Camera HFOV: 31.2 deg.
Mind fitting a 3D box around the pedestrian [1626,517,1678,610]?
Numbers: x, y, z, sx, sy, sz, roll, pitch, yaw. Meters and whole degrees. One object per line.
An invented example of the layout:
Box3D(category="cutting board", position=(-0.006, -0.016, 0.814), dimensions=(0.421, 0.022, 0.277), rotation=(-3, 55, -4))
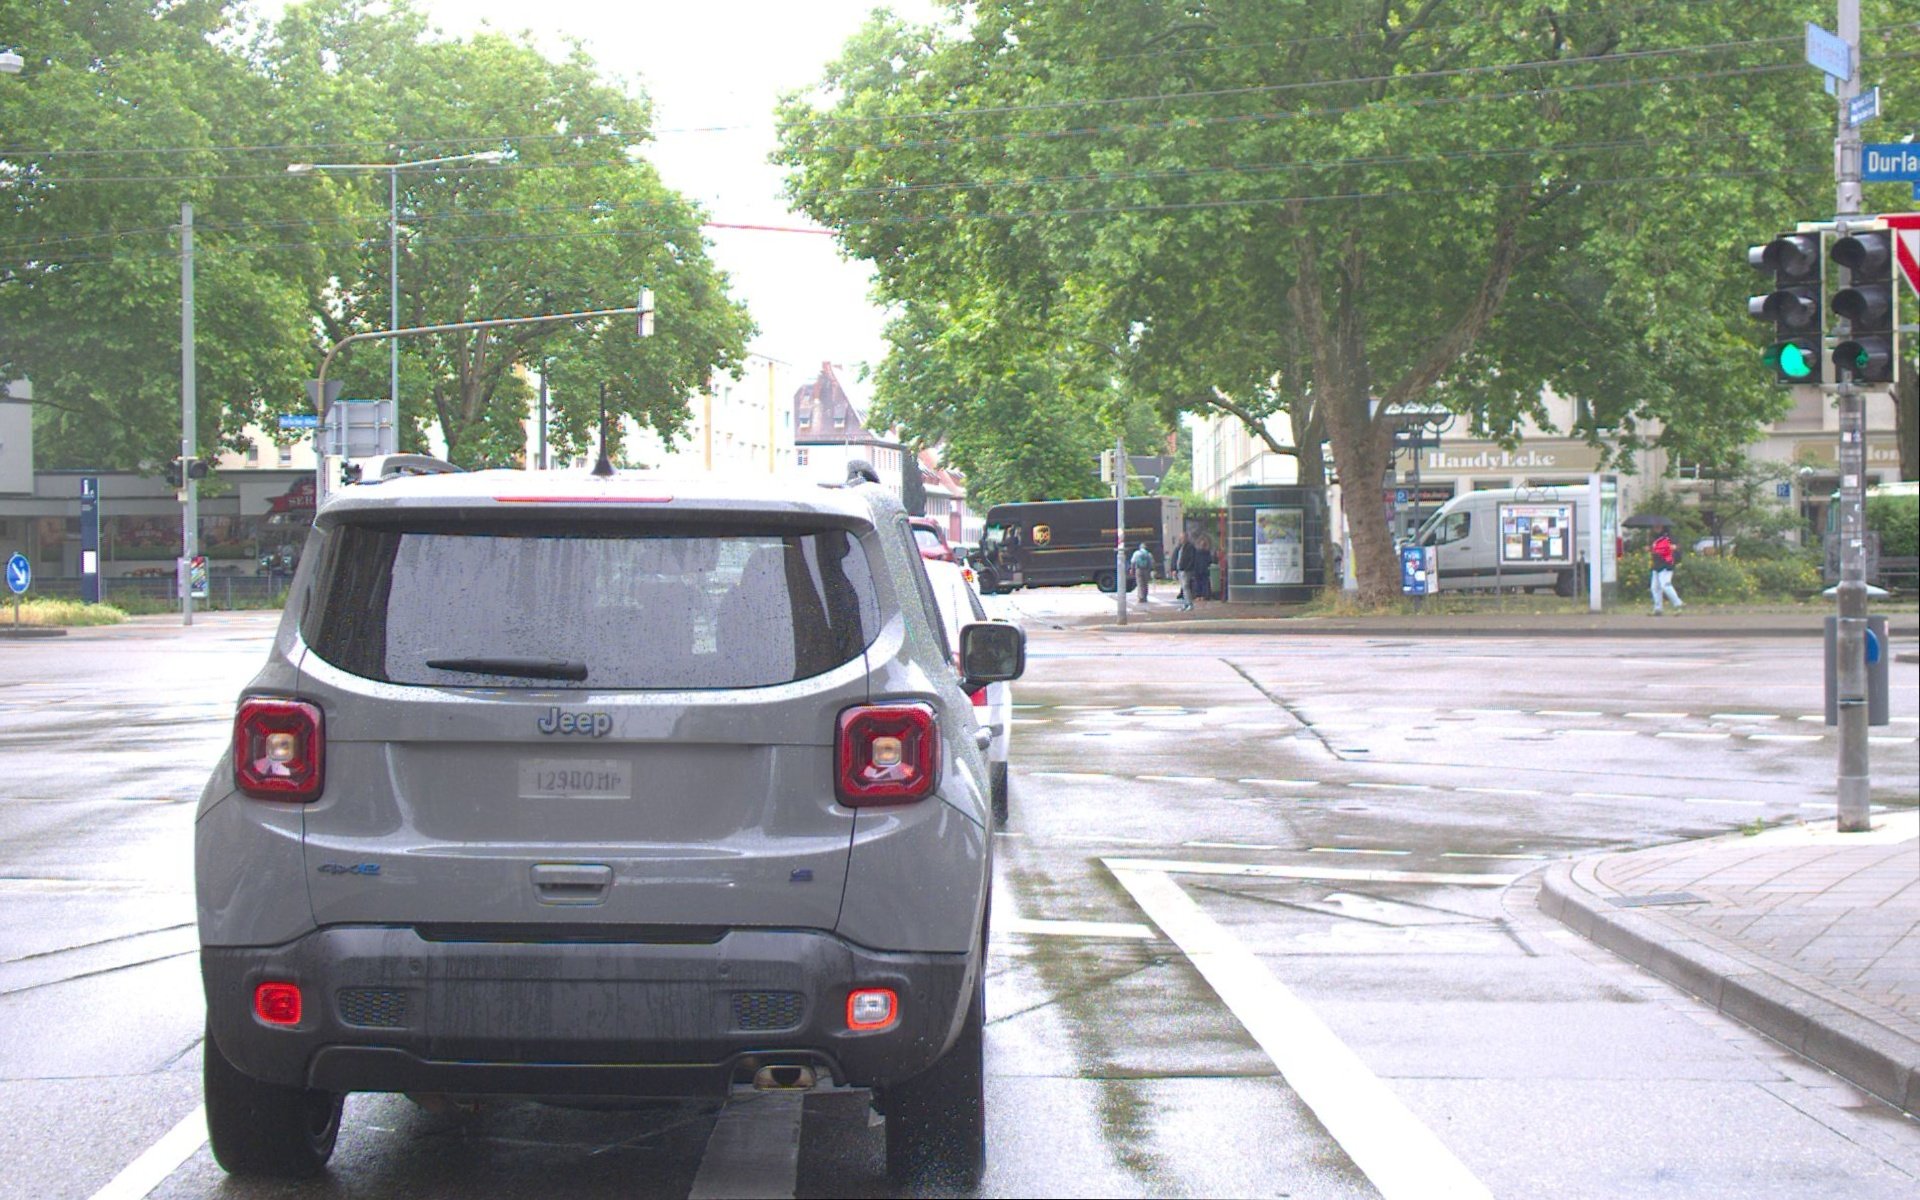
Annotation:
Box3D(category="pedestrian", position=(11.597, -0.611, 57.612), dimensions=(0.674, 1.548, 0.760), rotation=(0, 0, 28))

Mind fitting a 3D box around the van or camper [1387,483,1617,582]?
Box3D(category="van or camper", position=(12.875, -1.616, 81.924), dimensions=(5.260, 2.307, 2.090), rotation=(0, 1, 4))

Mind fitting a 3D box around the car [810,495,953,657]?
Box3D(category="car", position=(-1.001, -0.347, 45.090), dimensions=(1.770, 2.007, 4.000), rotation=(-1, 1, 0))

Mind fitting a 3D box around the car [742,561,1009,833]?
Box3D(category="car", position=(-0.447, 0.485, 19.486), dimensions=(1.363, 1.371, 3.312), rotation=(-1, 1, 0))

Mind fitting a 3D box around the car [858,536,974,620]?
Box3D(category="car", position=(-0.713, -0.360, 53.622), dimensions=(1.592, 1.247, 3.575), rotation=(-1, 1, -4))

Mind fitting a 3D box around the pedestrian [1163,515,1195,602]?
Box3D(category="pedestrian", position=(5.092, -0.976, 79.979), dimensions=(0.651, 2.007, 0.482), rotation=(0, 1, 12))

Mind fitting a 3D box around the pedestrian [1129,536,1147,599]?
Box3D(category="pedestrian", position=(4.832, -0.877, 93.220), dimensions=(0.458, 1.698, 0.424), rotation=(-1, 1, 1))

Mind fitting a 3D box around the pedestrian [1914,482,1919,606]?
Box3D(category="pedestrian", position=(15.947, -0.908, 55.714), dimensions=(0.806, 2.007, 0.589), rotation=(0, 1, 27))

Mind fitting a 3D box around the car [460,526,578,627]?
Box3D(category="car", position=(-7.624, -0.430, 59.663), dimensions=(1.814, 1.665, 3.921), rotation=(-1, 1, -4))

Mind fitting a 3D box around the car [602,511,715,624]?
Box3D(category="car", position=(-4.827, -0.543, 55.352), dimensions=(1.721, 1.733, 3.730), rotation=(-1, 1, -4))

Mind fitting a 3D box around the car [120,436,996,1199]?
Box3D(category="car", position=(-0.868, 0.483, 9.087), dimensions=(1.775, 1.681, 3.848), rotation=(-2, 1, -1))

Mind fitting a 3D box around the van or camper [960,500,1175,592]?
Box3D(category="van or camper", position=(3.495, -1.757, 112.134), dimensions=(6.536, 2.902, 2.491), rotation=(0, 1, 27))
